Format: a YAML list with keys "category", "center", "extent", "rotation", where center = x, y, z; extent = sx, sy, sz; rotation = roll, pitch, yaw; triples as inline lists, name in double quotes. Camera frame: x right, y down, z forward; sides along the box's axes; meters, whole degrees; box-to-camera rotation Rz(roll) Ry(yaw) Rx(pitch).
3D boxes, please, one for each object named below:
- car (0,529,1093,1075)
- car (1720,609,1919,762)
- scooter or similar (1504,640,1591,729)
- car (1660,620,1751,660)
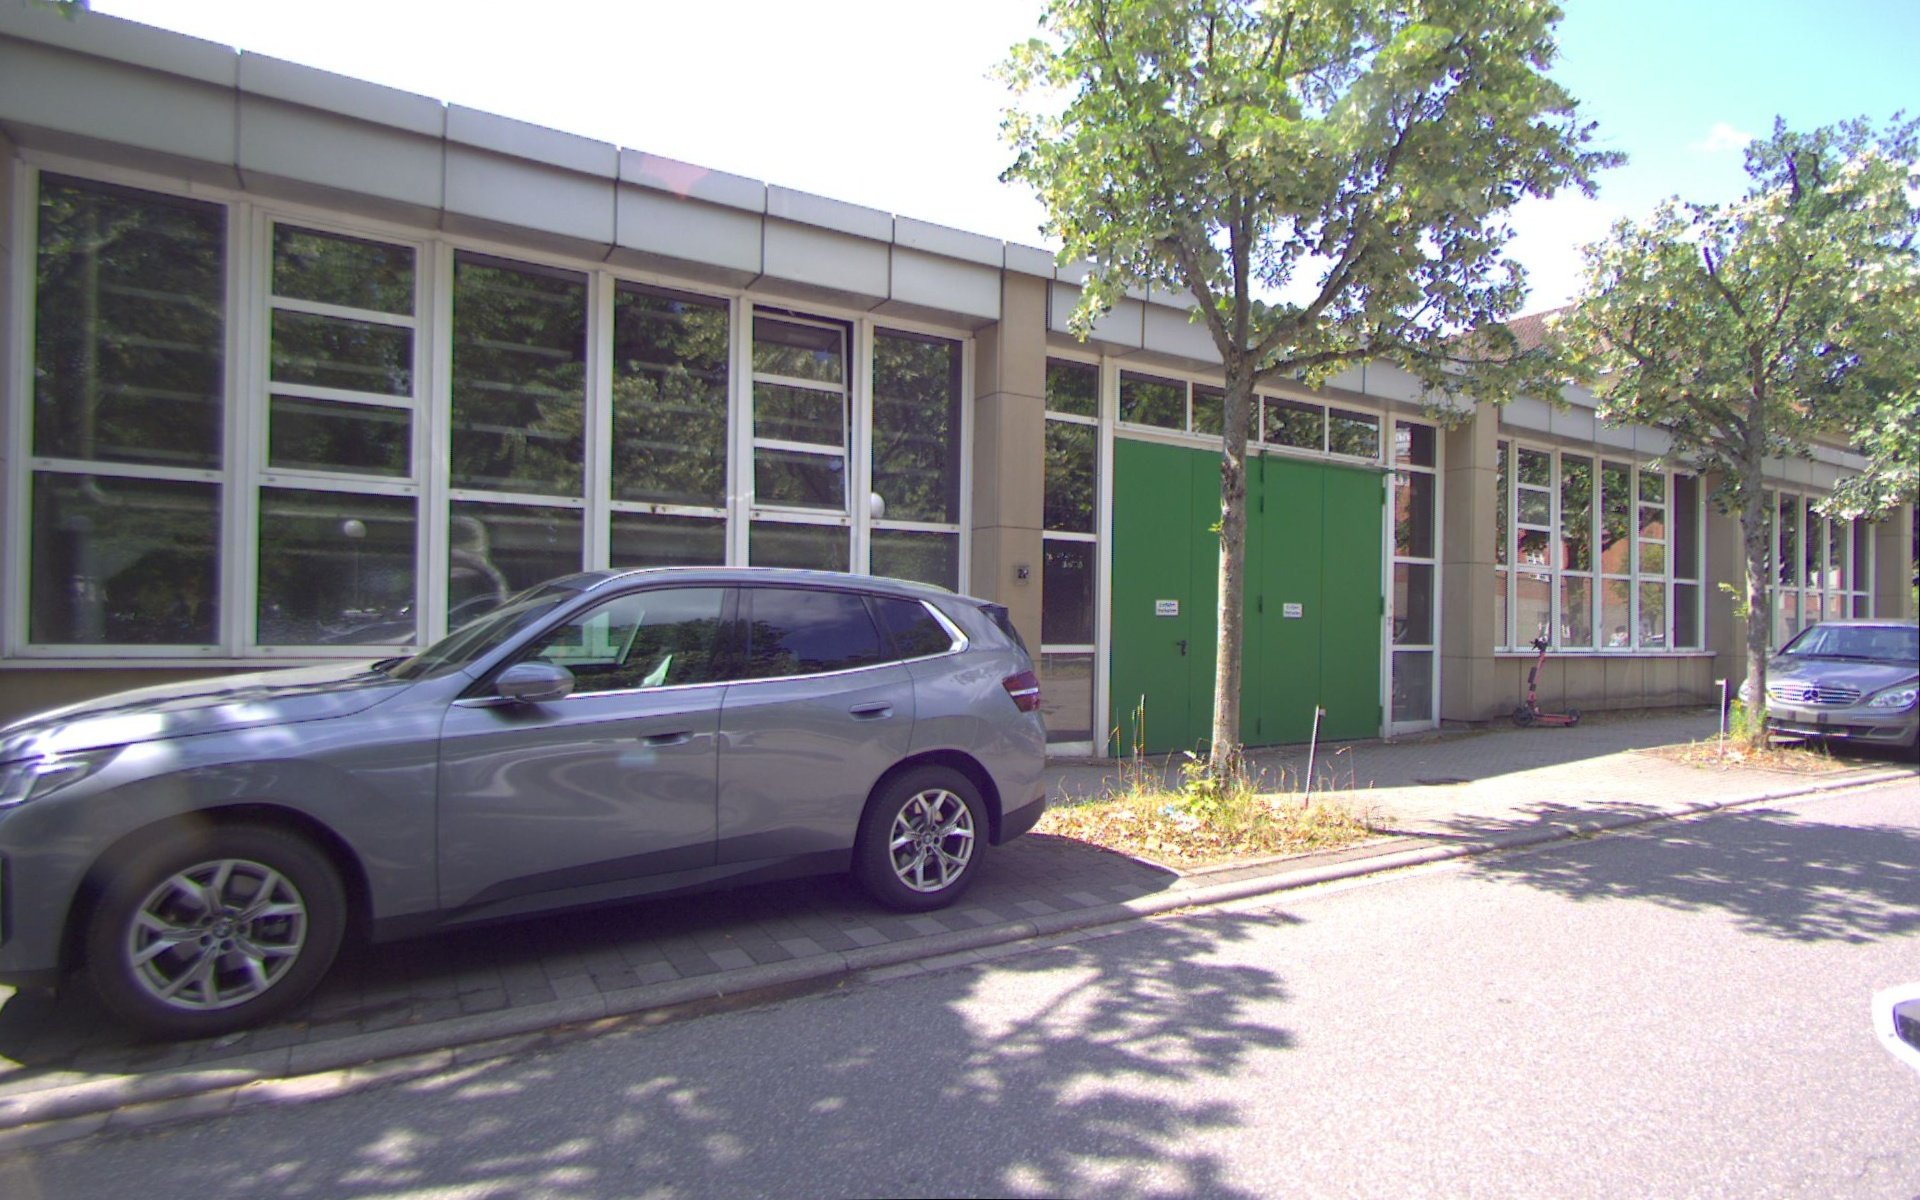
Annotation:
- category: "car"
  center: [-1.662, 0.642, 4.928]
  extent: [4.469, 1.654, 1.811]
  rotation: [2, 1, -33]
- category: "car"
  center: [11.438, 0.969, 12.563]
  extent: [4.069, 1.577, 1.747]
  rotation: [2, 1, -33]
- category: "scooter or similar"
  center: [8.303, 1.167, 14.191]
  extent: [1.201, 1.185, 0.503]
  rotation: [1, 1, -30]
- category: "car"
  center: [35.516, 1.881, 47.841]
  extent: [4.390, 1.792, 1.919]
  rotation: [0, -3, -31]
